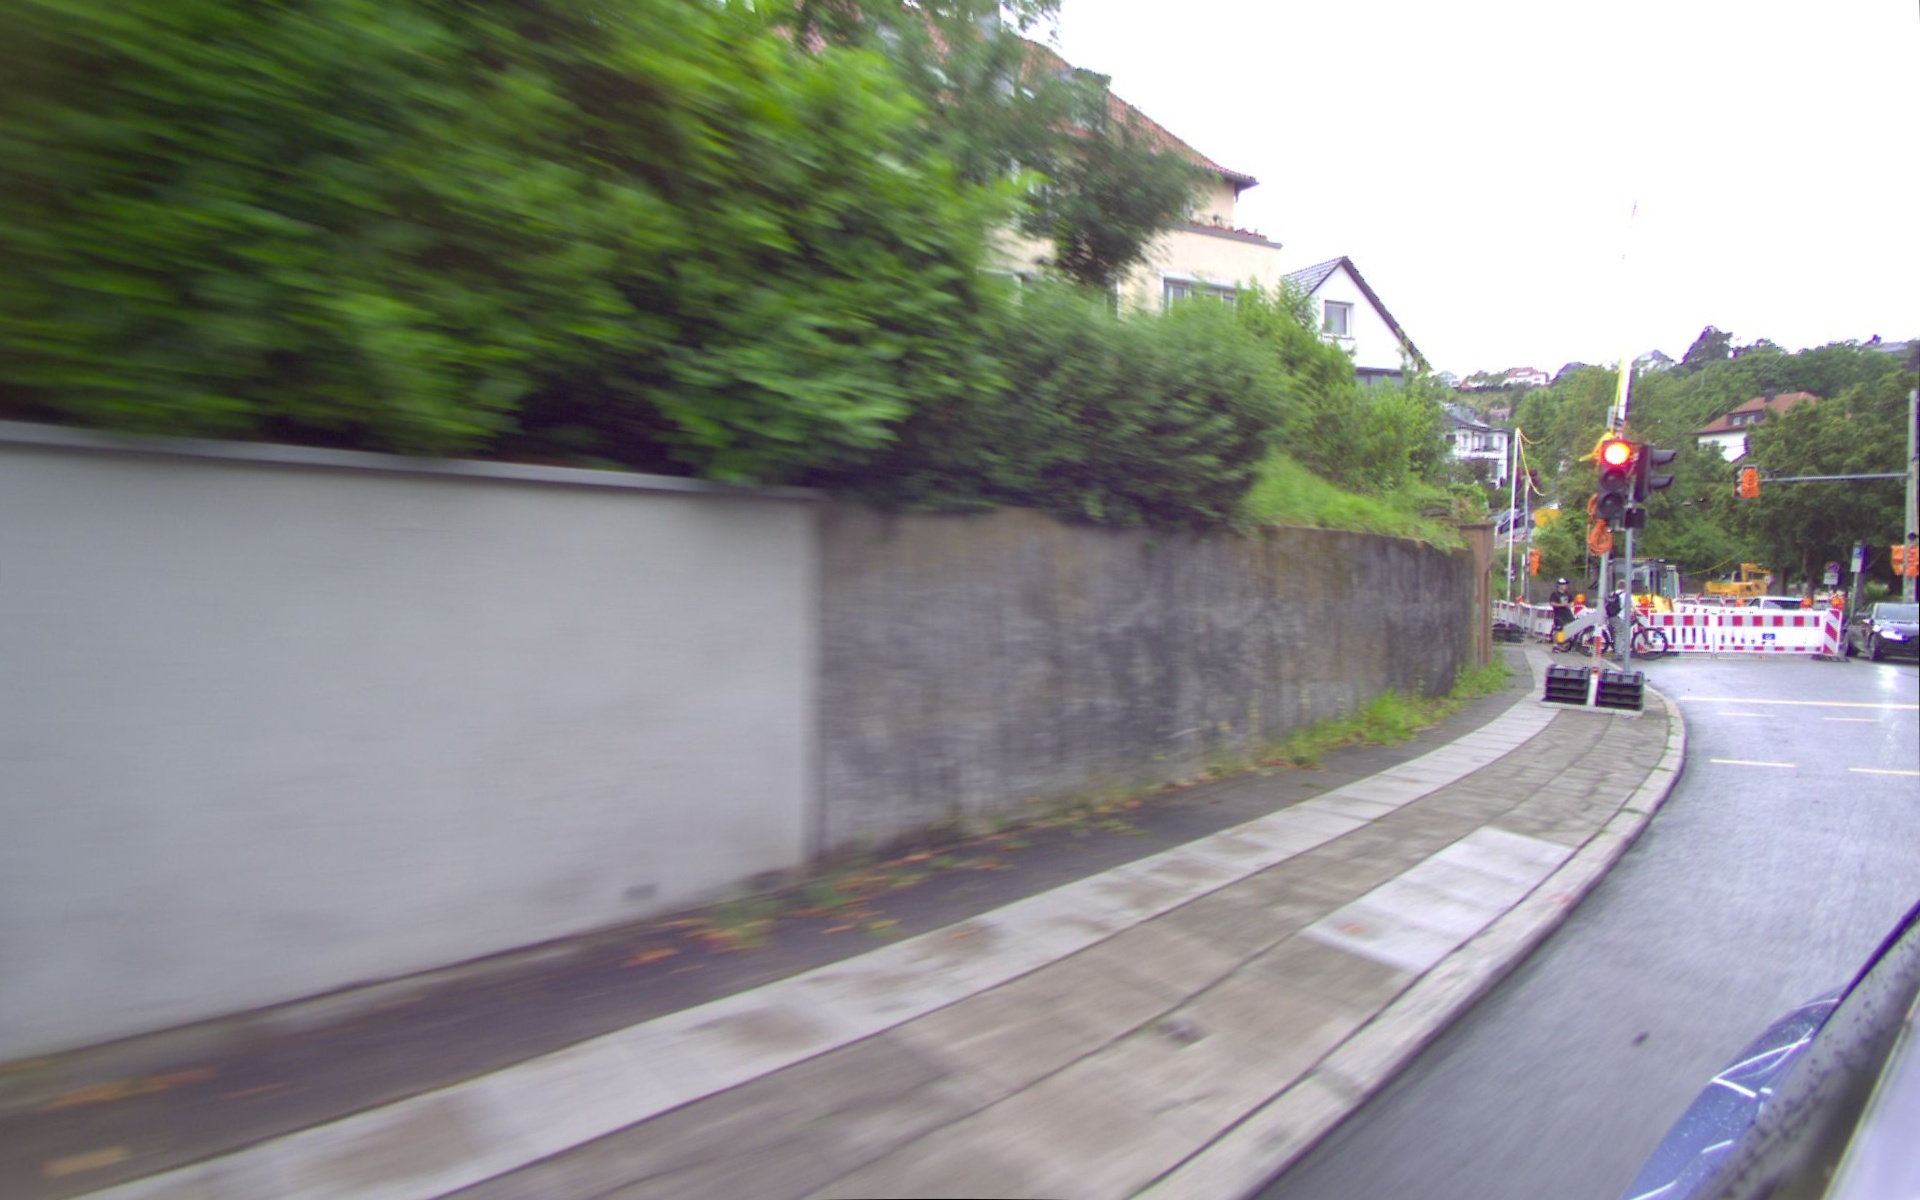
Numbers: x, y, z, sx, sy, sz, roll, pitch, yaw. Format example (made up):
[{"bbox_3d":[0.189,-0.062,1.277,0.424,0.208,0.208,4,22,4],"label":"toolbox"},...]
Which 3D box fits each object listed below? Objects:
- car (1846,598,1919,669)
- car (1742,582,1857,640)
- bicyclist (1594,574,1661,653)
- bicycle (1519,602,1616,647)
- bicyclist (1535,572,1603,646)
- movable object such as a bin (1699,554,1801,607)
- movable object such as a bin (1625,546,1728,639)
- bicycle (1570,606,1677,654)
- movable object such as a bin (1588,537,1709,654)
[{"bbox_3d":[22.533,0.767,23.832,1.831,1.420,4.025,3,3,32],"label":"car"},{"bbox_3d":[29.242,0.322,35.435,1.982,1.729,4.535,3,3,26],"label":"car"},{"bbox_3d":[15.314,0.291,23.254,1.063,1.750,0.927,1,1,20],"label":"bicyclist"},{"bbox_3d":[14.849,0.585,24.783,0.914,0.993,1.833,0,2,-27],"label":"bicycle"},{"bbox_3d":[14.873,0.196,24.726,0.914,1.750,1.079,0,1,-27],"label":"bicyclist"},{"bbox_3d":[61.137,-1.479,78.344,7.055,3.886,3.339,0,3,-26],"label":"movable object such as a bin"},{"bbox_3d":[24.340,-0.392,34.592,2.074,2.872,5.623,2,4,28],"label":"movable object such as a bin"},{"bbox_3d":[15.224,0.680,23.293,1.861,0.993,0.927,1,1,20],"label":"bicycle"},{"bbox_3d":[18.720,-0.144,27.767,2.074,2.873,5.620,2,1,28],"label":"movable object such as a bin"}]
